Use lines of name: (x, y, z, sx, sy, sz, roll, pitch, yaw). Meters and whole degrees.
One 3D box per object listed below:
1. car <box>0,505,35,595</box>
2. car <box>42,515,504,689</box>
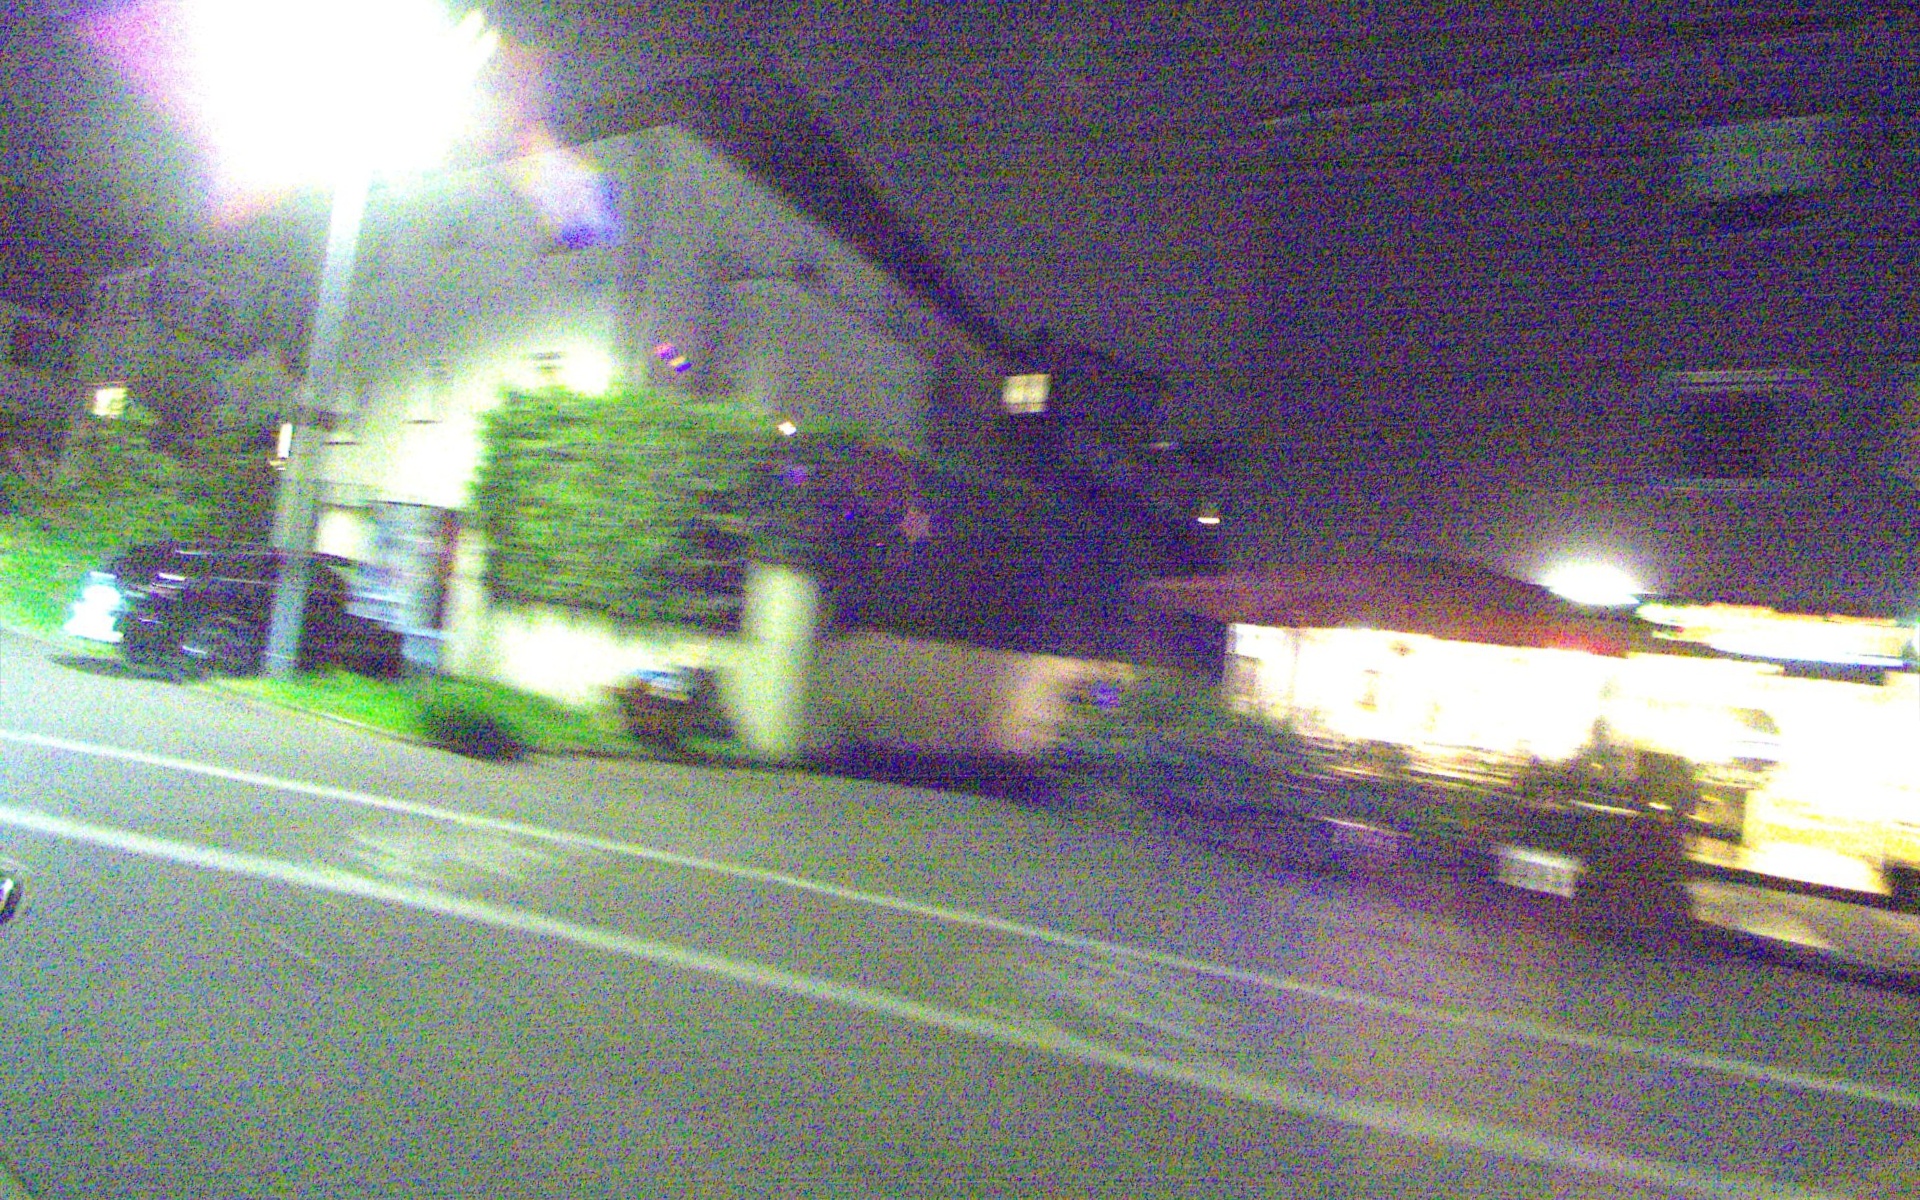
car: (-18.919, -1.124, 18.530, 3.616, 1.577, 1.643, 6, -2, 30)
car: (-7.647, 0.128, 11.605, 1.802, 1.503, 3.912, 6, -2, 30)
